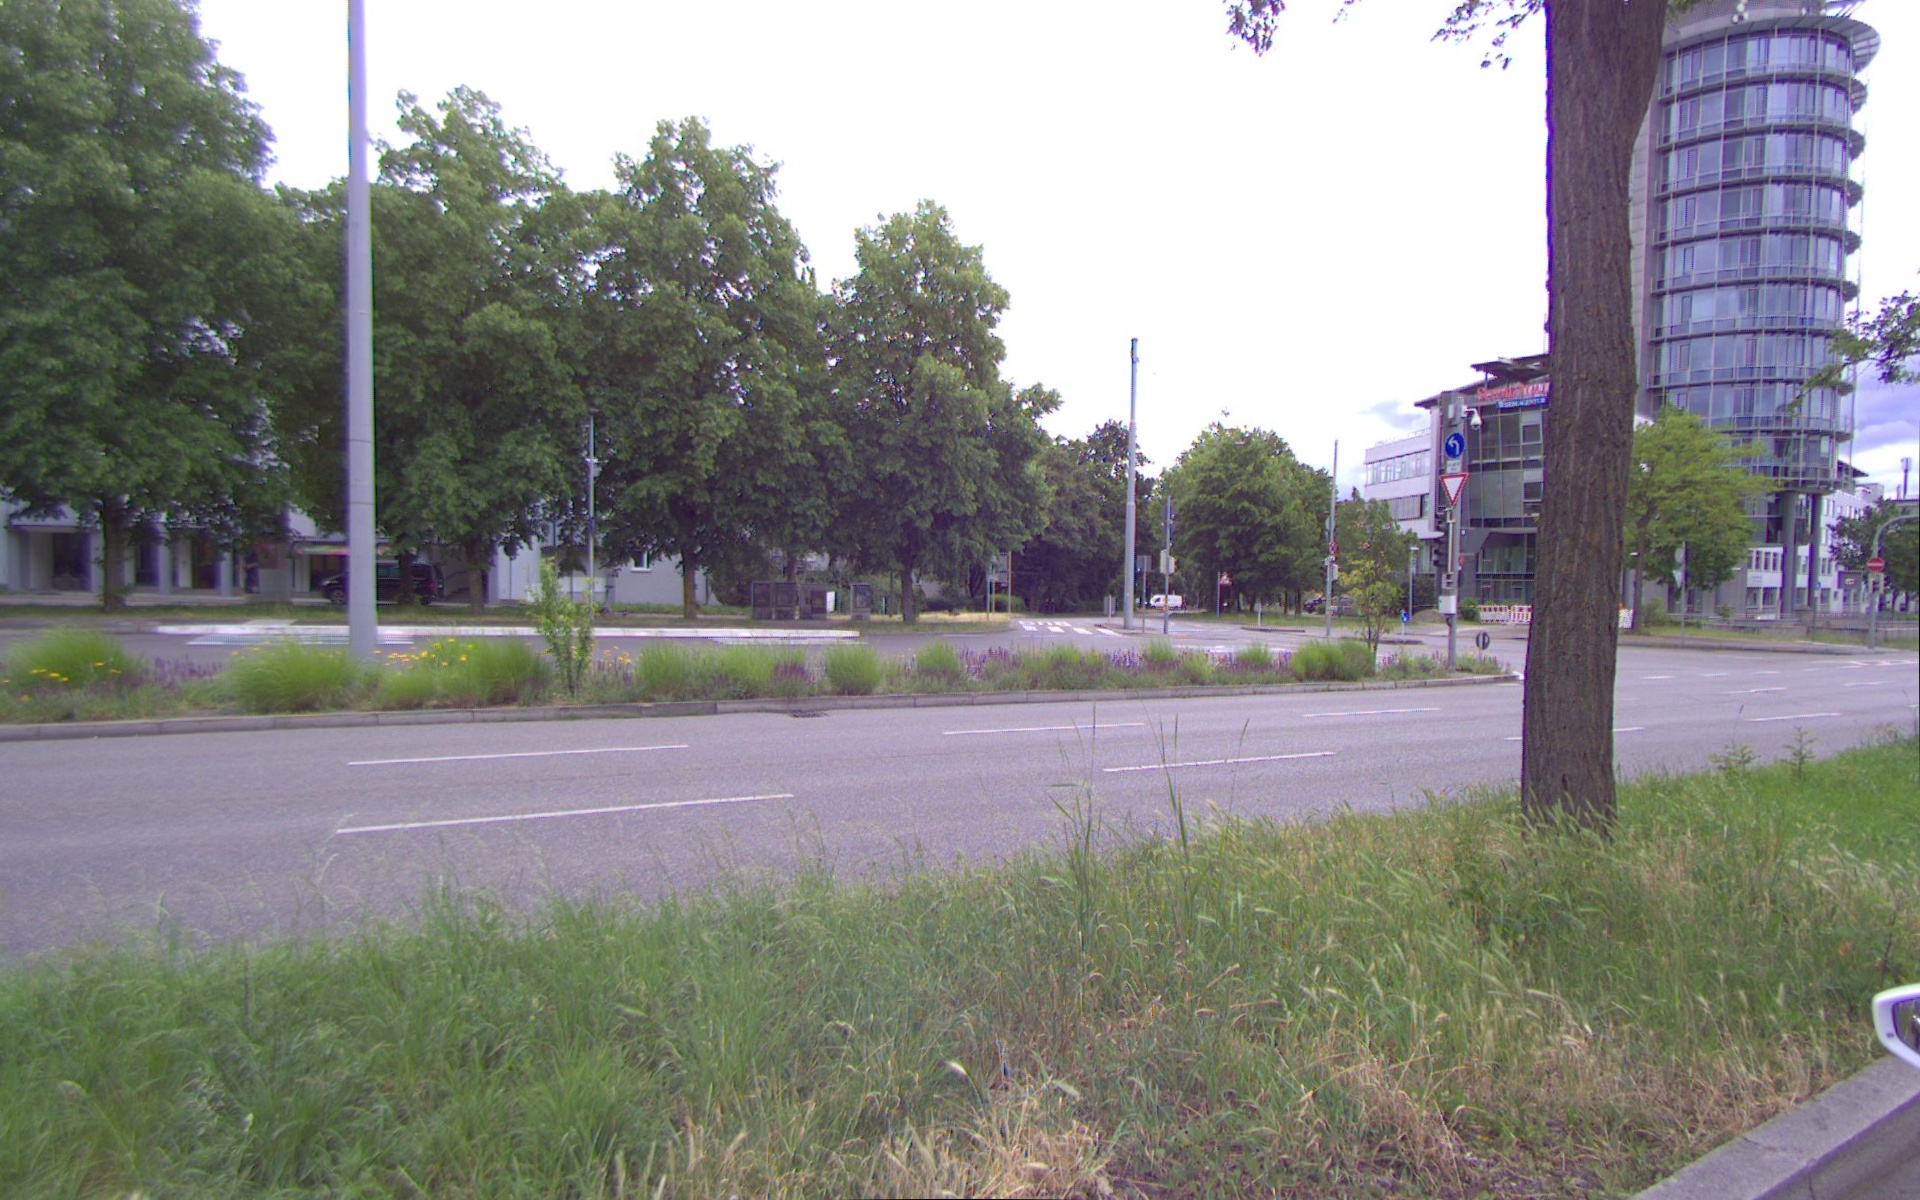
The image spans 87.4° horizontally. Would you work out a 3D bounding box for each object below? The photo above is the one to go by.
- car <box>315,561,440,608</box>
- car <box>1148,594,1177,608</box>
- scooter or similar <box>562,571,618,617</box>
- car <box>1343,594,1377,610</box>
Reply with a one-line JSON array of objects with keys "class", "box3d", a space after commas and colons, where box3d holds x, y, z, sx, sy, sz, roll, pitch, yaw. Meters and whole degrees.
[{"class": "car", "box3d": [-25.277, -0.667, 43.747, 4.345, 1.872, 1.781, 1, 1, -16]}, {"class": "car", "box3d": [35.058, 0.166, 174.054, 4.475, 2.370, 1.994, 2, 0, -15]}, {"class": "scooter or similar", "box3d": [-13.844, -0.227, 37.623, 1.835, 1.686, 0.645, 1, 1, -43]}, {"class": "car", "box3d": [23.113, 0.119, 58.080, 1.684, 0.888, 0.776, 1, 0, 7]}]
